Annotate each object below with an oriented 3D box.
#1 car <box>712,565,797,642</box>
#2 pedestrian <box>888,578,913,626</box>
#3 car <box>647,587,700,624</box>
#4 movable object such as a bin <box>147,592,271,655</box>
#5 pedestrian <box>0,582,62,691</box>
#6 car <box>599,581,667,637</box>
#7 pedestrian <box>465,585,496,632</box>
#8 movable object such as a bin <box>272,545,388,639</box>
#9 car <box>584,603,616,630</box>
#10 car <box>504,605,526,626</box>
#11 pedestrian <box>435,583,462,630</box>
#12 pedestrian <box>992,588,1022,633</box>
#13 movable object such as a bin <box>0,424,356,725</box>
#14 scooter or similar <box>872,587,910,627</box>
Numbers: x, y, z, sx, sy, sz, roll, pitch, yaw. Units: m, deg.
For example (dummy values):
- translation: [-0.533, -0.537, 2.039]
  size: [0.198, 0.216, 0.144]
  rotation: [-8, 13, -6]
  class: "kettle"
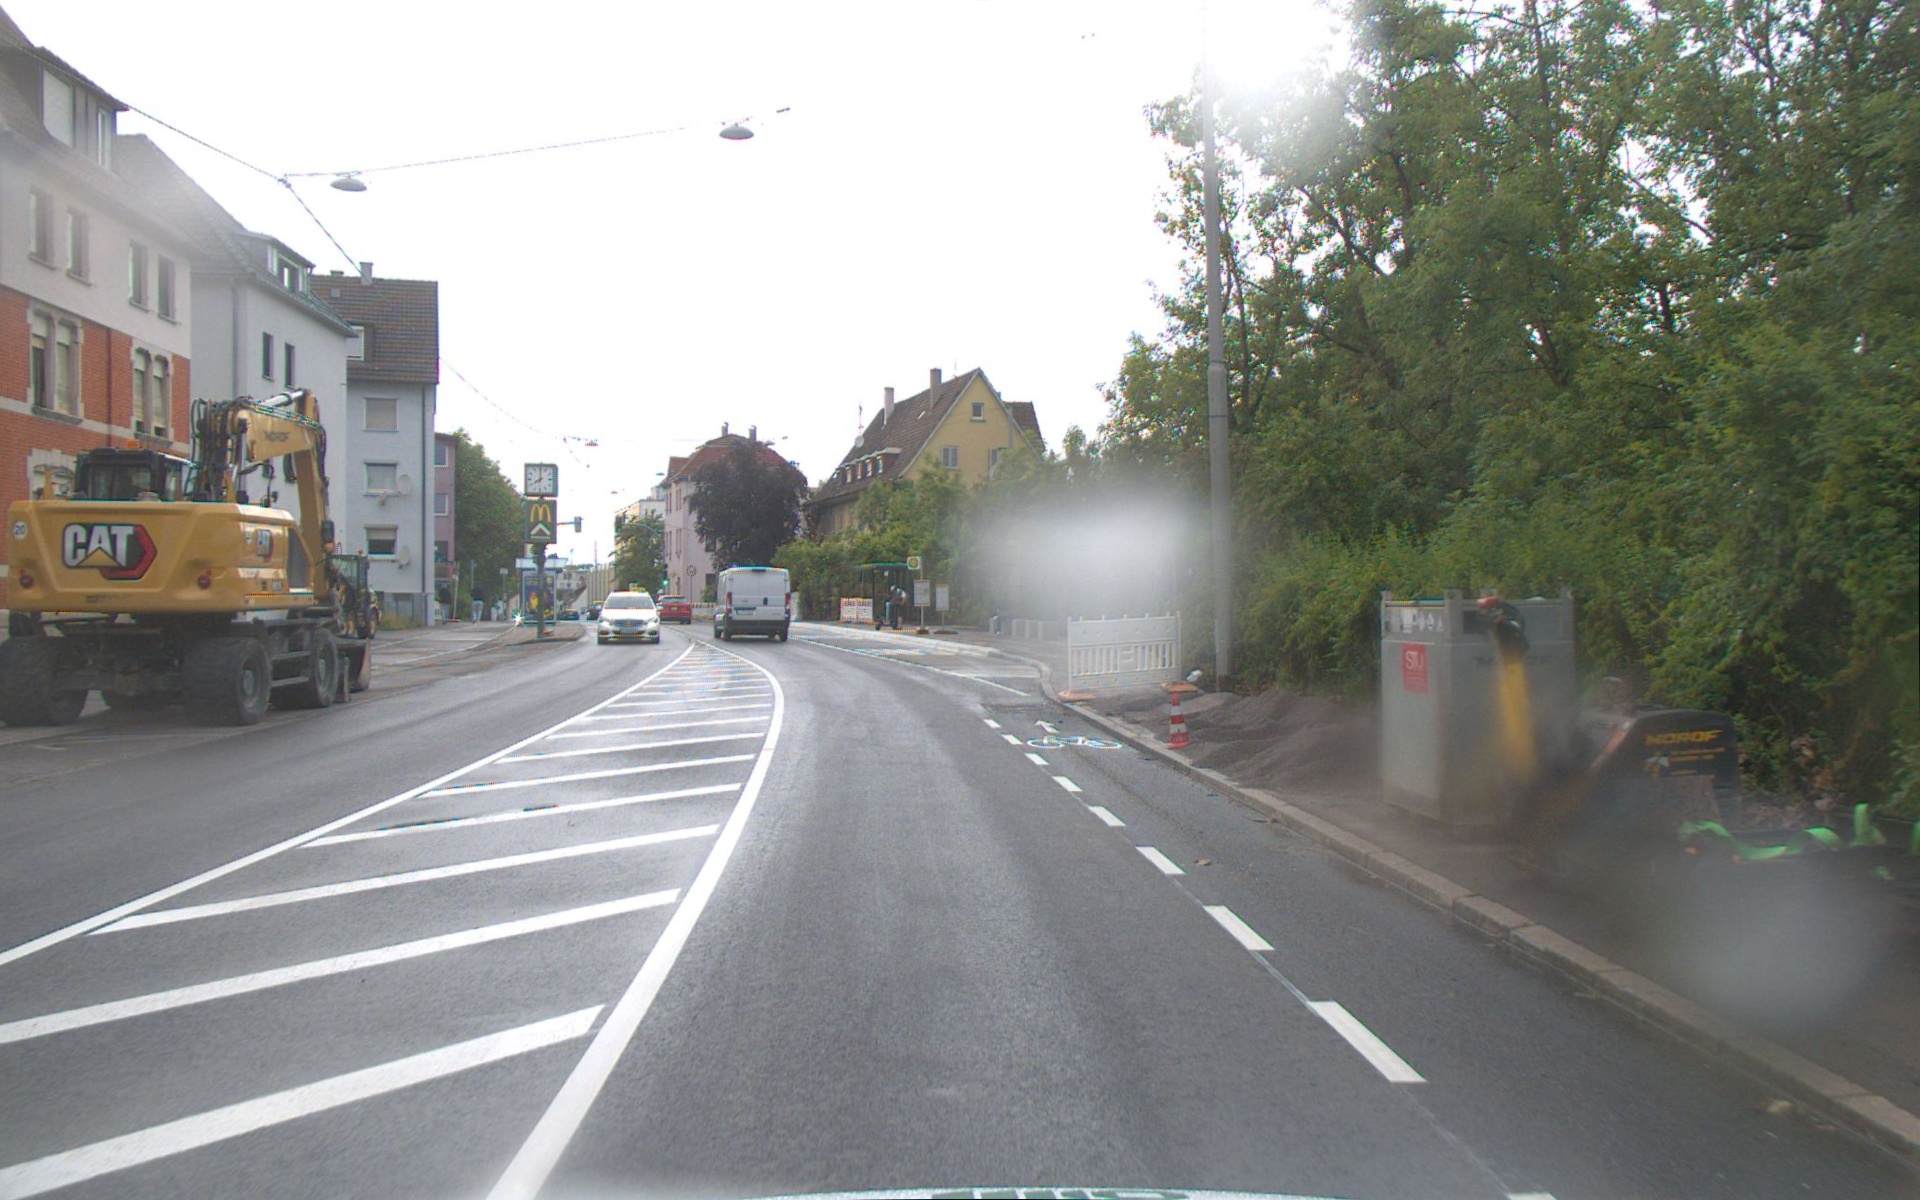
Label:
- translation: [-6.617, 0.059, 52.863]
  size: [2.199, 2.251, 4.698]
  rotation: [1, 2, -13]
  class: "car"
- translation: [-2.195, 0.073, 61.171]
  size: [0.887, 1.761, 0.653]
  rotation: [1, 1, -2]
  class: "pedestrian"
- translation: [-14.517, 0.247, 83.513]
  size: [2.201, 1.685, 4.695]
  rotation: [1, 2, -15]
  class: "car"
- translation: [-17.676, 0.568, 39.082]
  size: [1.524, 1.378, 3.993]
  rotation: [1, -1, -8]
  class: "movable object such as a bin"
- translation: [-14.603, 0.550, 25.709]
  size: [0.749, 1.616, 1.091]
  rotation: [1, 2, -4]
  class: "pedestrian"
- translation: [-10.010, 0.289, 50.388]
  size: [1.895, 1.583, 4.604]
  rotation: [1, -1, -13]
  class: "car"
- translation: [-21.260, 0.368, 73.371]
  size: [1.190, 2.048, 1.045]
  rotation: [1, 2, -22]
  class: "pedestrian"
- translation: [-19.228, -0.312, 50.678]
  size: [1.954, 2.729, 4.626]
  rotation: [1, 2, -3]
  class: "movable object such as a bin"
- translation: [-26.983, 1.222, 123.903]
  size: [2.200, 1.835, 4.696]
  rotation: [1, 2, -15]
  class: "car"
- translation: [-43.071, 1.450, 160.054]
  size: [1.961, 1.825, 3.985]
  rotation: [1, 2, -15]
  class: "car"
- translation: [-22.971, 0.298, 74.291]
  size: [1.061, 2.048, 1.048]
  rotation: [1, 2, -15]
  class: "pedestrian"
- translation: [1.493, 0.328, 52.739]
  size: [0.861, 1.391, 1.065]
  rotation: [1, 2, -2]
  class: "pedestrian"
- translation: [-9.440, -0.257, 20.110]
  size: [2.814, 3.229, 4.122]
  rotation: [1, -1, -4]
  class: "movable object such as a bin"
- translation: [-2.536, 0.249, 61.212]
  size: [0.488, 1.430, 1.547]
  rotation: [2, 4, 41]
  class: "scooter or similar"
